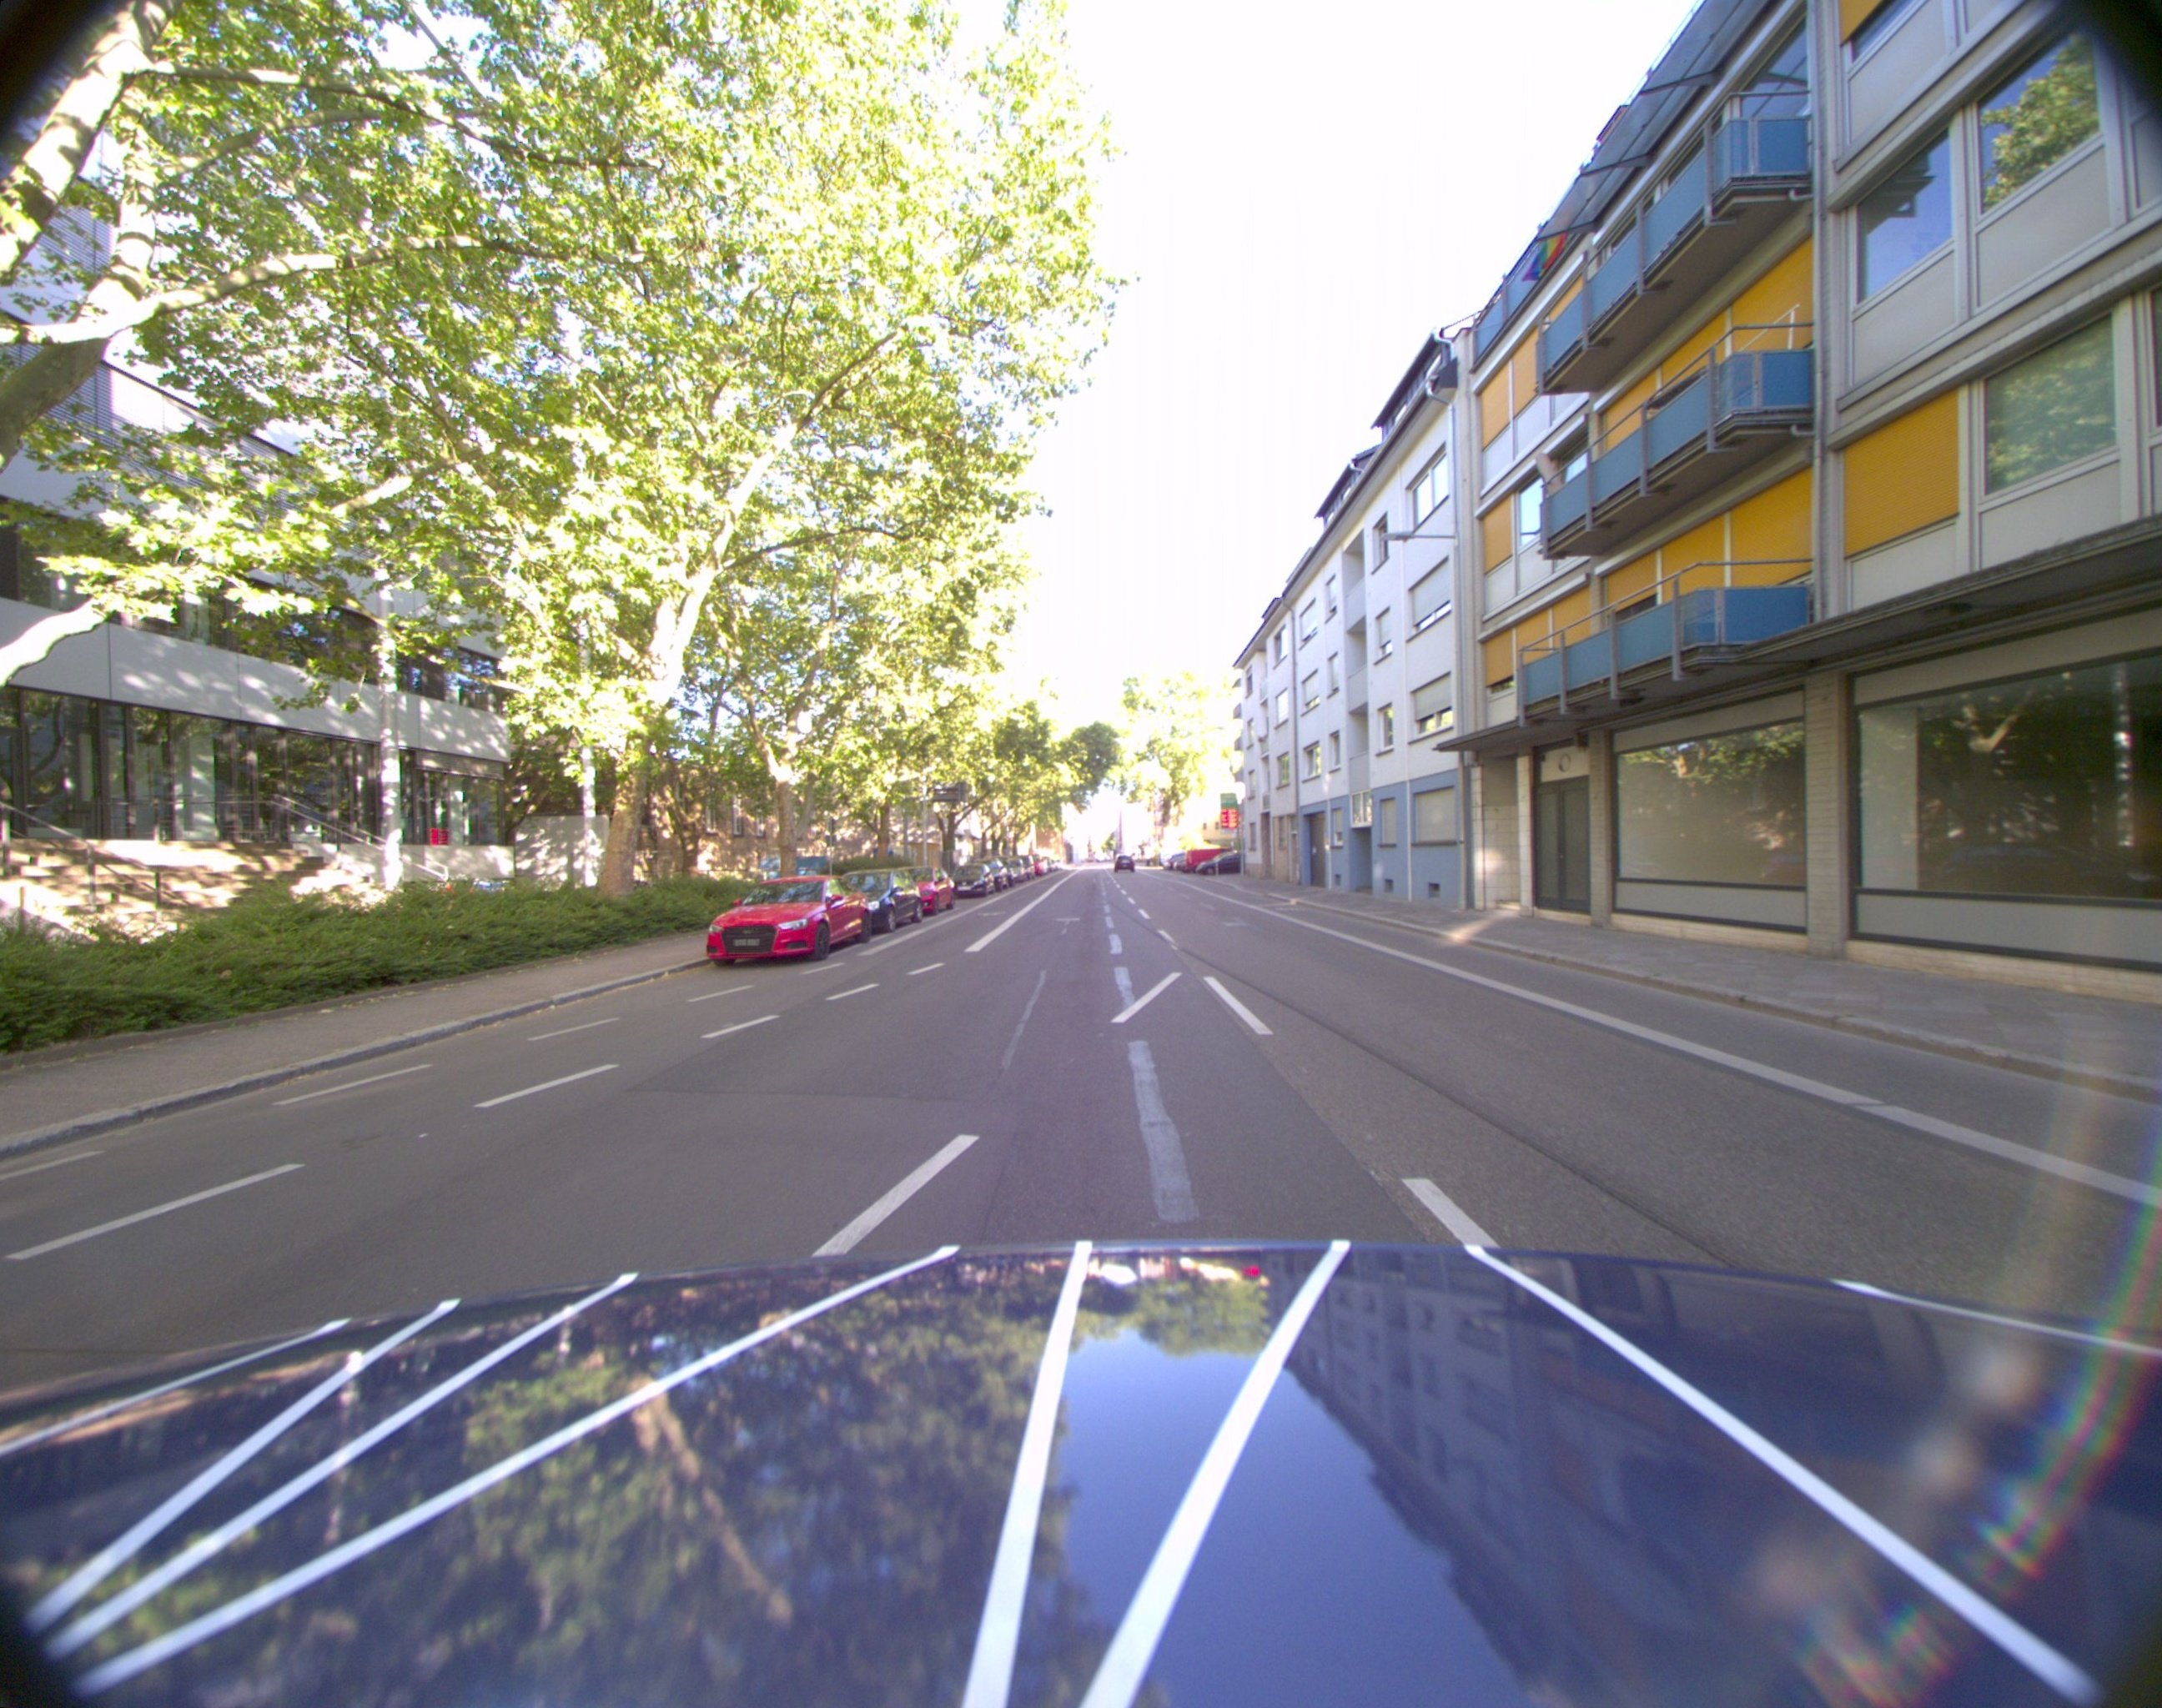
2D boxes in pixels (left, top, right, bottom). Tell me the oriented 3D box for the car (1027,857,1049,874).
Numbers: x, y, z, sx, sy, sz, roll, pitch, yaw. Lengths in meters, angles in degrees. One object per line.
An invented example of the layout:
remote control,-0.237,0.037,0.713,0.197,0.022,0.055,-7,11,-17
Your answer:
car,-4.039,1.074,72.004,1.824,1.466,3.999,-2,1,1

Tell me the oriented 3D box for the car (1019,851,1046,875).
car,-4.226,0.734,66.341,1.998,1.960,3.999,-2,1,1

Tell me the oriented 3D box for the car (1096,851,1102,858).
car,6.157,0.172,259.461,1.998,2.002,3.999,-2,1,1

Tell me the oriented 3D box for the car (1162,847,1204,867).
car,10.860,0.274,80.920,4.236,1.945,2.000,-2,1,3

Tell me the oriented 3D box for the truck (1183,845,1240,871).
truck,10.285,0.312,60.223,4.092,1.913,2.000,-2,1,0

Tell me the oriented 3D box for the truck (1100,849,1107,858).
truck,6.870,-0.313,233.830,1.998,2.653,5.314,-2,1,0

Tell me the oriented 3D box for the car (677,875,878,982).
car,-5.188,1.192,13.644,1.907,1.417,3.999,-2,1,1

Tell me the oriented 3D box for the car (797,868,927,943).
car,-5.172,1.162,18.452,1.998,1.452,3.644,-2,1,1

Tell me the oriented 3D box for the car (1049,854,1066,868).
car,-3.188,0.897,103.015,1.998,1.682,3.999,-2,1,1

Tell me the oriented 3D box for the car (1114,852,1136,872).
car,4.014,0.697,69.889,1.847,1.668,3.999,2,1,1

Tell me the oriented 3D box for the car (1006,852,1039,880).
car,-4.256,0.837,55.641,1.998,1.838,3.999,-2,1,1

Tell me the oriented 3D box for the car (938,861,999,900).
car,-4.839,1.125,33.186,1.998,1.447,3.589,-2,1,1

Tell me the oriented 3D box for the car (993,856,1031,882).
car,-4.567,0.956,50.878,1.998,1.557,4.142,-2,1,1

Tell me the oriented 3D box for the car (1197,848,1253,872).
car,10.799,0.443,57.122,3.810,1.563,1.658,-2,1,0

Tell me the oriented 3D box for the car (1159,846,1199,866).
car,10.946,0.208,85.320,4.236,2.025,2.000,-2,1,3

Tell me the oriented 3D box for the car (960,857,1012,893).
car,-4.686,0.999,38.126,1.998,1.592,4.142,-2,1,1

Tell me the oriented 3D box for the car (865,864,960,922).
car,-5.130,1.143,23.675,1.998,1.490,3.828,-2,1,1

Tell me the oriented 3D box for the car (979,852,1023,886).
car,-4.609,0.832,44.523,1.998,1.777,4.572,-2,1,1

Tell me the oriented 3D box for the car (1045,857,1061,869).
car,-3.350,1.061,92.744,1.693,1.364,3.999,-2,1,1

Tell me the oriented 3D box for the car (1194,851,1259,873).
car,10.454,0.564,54.790,4.324,1.398,1.658,-2,1,0
